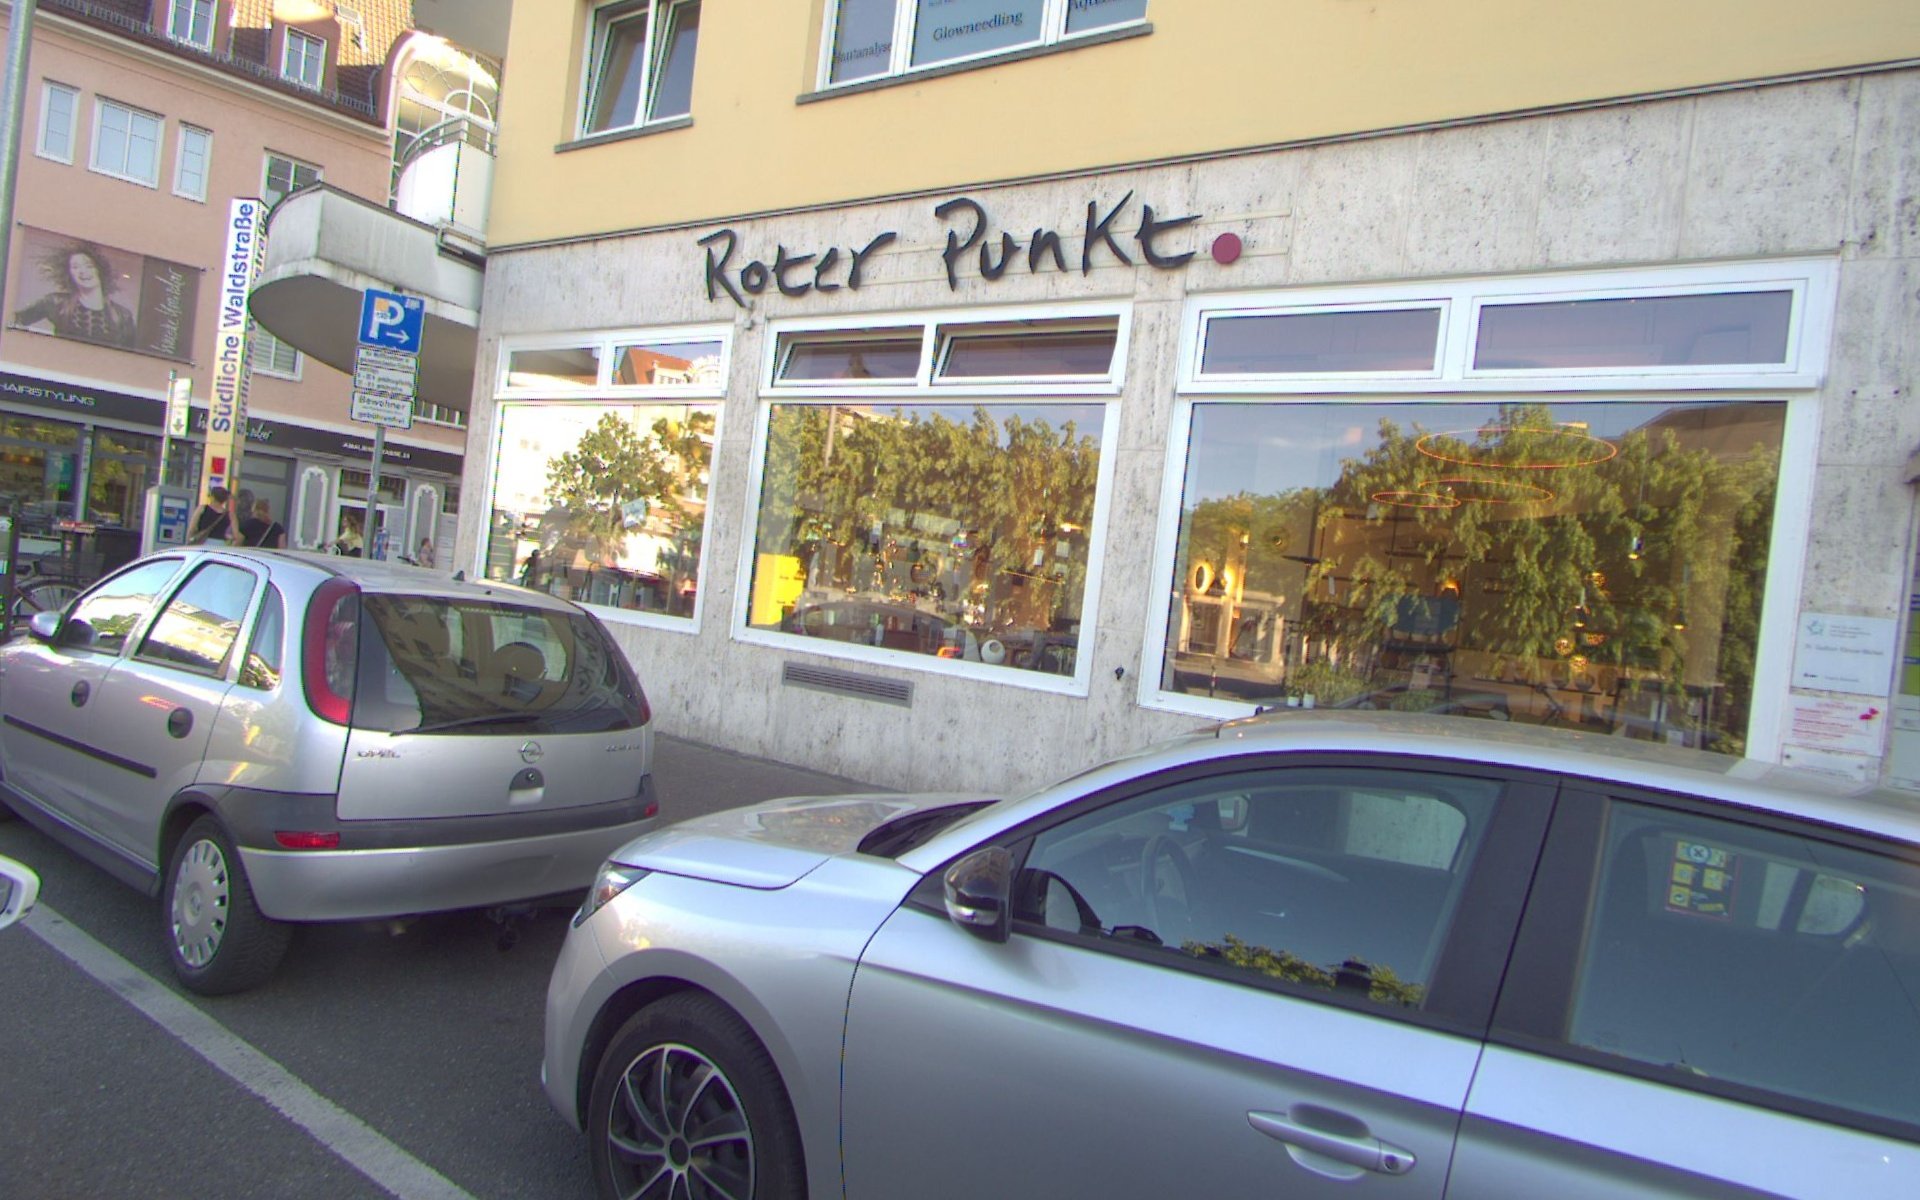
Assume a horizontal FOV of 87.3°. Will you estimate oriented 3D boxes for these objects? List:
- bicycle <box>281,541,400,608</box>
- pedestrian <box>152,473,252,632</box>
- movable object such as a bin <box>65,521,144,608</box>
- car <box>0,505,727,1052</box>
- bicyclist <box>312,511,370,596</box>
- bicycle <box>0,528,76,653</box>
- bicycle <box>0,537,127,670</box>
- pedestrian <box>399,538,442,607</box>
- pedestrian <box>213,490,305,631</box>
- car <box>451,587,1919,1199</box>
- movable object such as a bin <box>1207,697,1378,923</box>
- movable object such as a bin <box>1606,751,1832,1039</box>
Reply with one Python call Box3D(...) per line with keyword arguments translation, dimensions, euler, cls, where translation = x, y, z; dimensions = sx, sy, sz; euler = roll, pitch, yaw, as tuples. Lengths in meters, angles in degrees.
Box3D(translation=(-12.672, -0.516, 20.621), dimensions=(1.945, 1.173, 0.569), euler=(5, 1, -42), cls="bicycle")
Box3D(translation=(-9.398, -0.585, 12.471), dimensions=(0.879, 1.875, 0.680), euler=(6, 3, 33), cls="pedestrian")
Box3D(translation=(-11.956, -0.492, 14.063), dimensions=(0.716, 1.117, 0.636), euler=(7, 2, 35), cls="movable object such as a bin")
Box3D(translation=(-2.956, 0.480, 4.458), dimensions=(3.520, 1.443, 1.587), euler=(6, -2, 32), cls="car")
Box3D(translation=(-12.659, -0.941, 20.581), dimensions=(0.823, 1.635, 0.572), euler=(4, 2, -43), cls="bicyclist")
Box3D(translation=(-9.055, -0.154, 8.795), dimensions=(0.642, 1.072, 1.816), euler=(7, -1, 33), cls="bicycle")
Box3D(translation=(-8.164, -0.001, 8.251), dimensions=(0.642, 1.057, 1.884), euler=(7, 0, 33), cls="bicycle")
Box3D(translation=(-13.128, -0.675, 24.468), dimensions=(0.716, 1.567, 0.786), euler=(8, -1, -31), cls="pedestrian")
Box3D(translation=(-9.321, -0.524, 13.375), dimensions=(0.775, 1.777, 0.720), euler=(6, 2, 37), cls="pedestrian")
Box3D(translation=(0.780, 0.939, 2.279), dimensions=(3.624, 1.453, 1.587), euler=(6, -2, 30), cls="car")
Box3D(translation=(1.825, 1.093, 5.474), dimensions=(0.639, 1.035, 0.738), euler=(6, -1, 31), cls="movable object such as a bin")
Box3D(translation=(3.374, 1.261, 4.544), dimensions=(0.639, 1.035, 0.738), euler=(6, -1, 31), cls="movable object such as a bin")
